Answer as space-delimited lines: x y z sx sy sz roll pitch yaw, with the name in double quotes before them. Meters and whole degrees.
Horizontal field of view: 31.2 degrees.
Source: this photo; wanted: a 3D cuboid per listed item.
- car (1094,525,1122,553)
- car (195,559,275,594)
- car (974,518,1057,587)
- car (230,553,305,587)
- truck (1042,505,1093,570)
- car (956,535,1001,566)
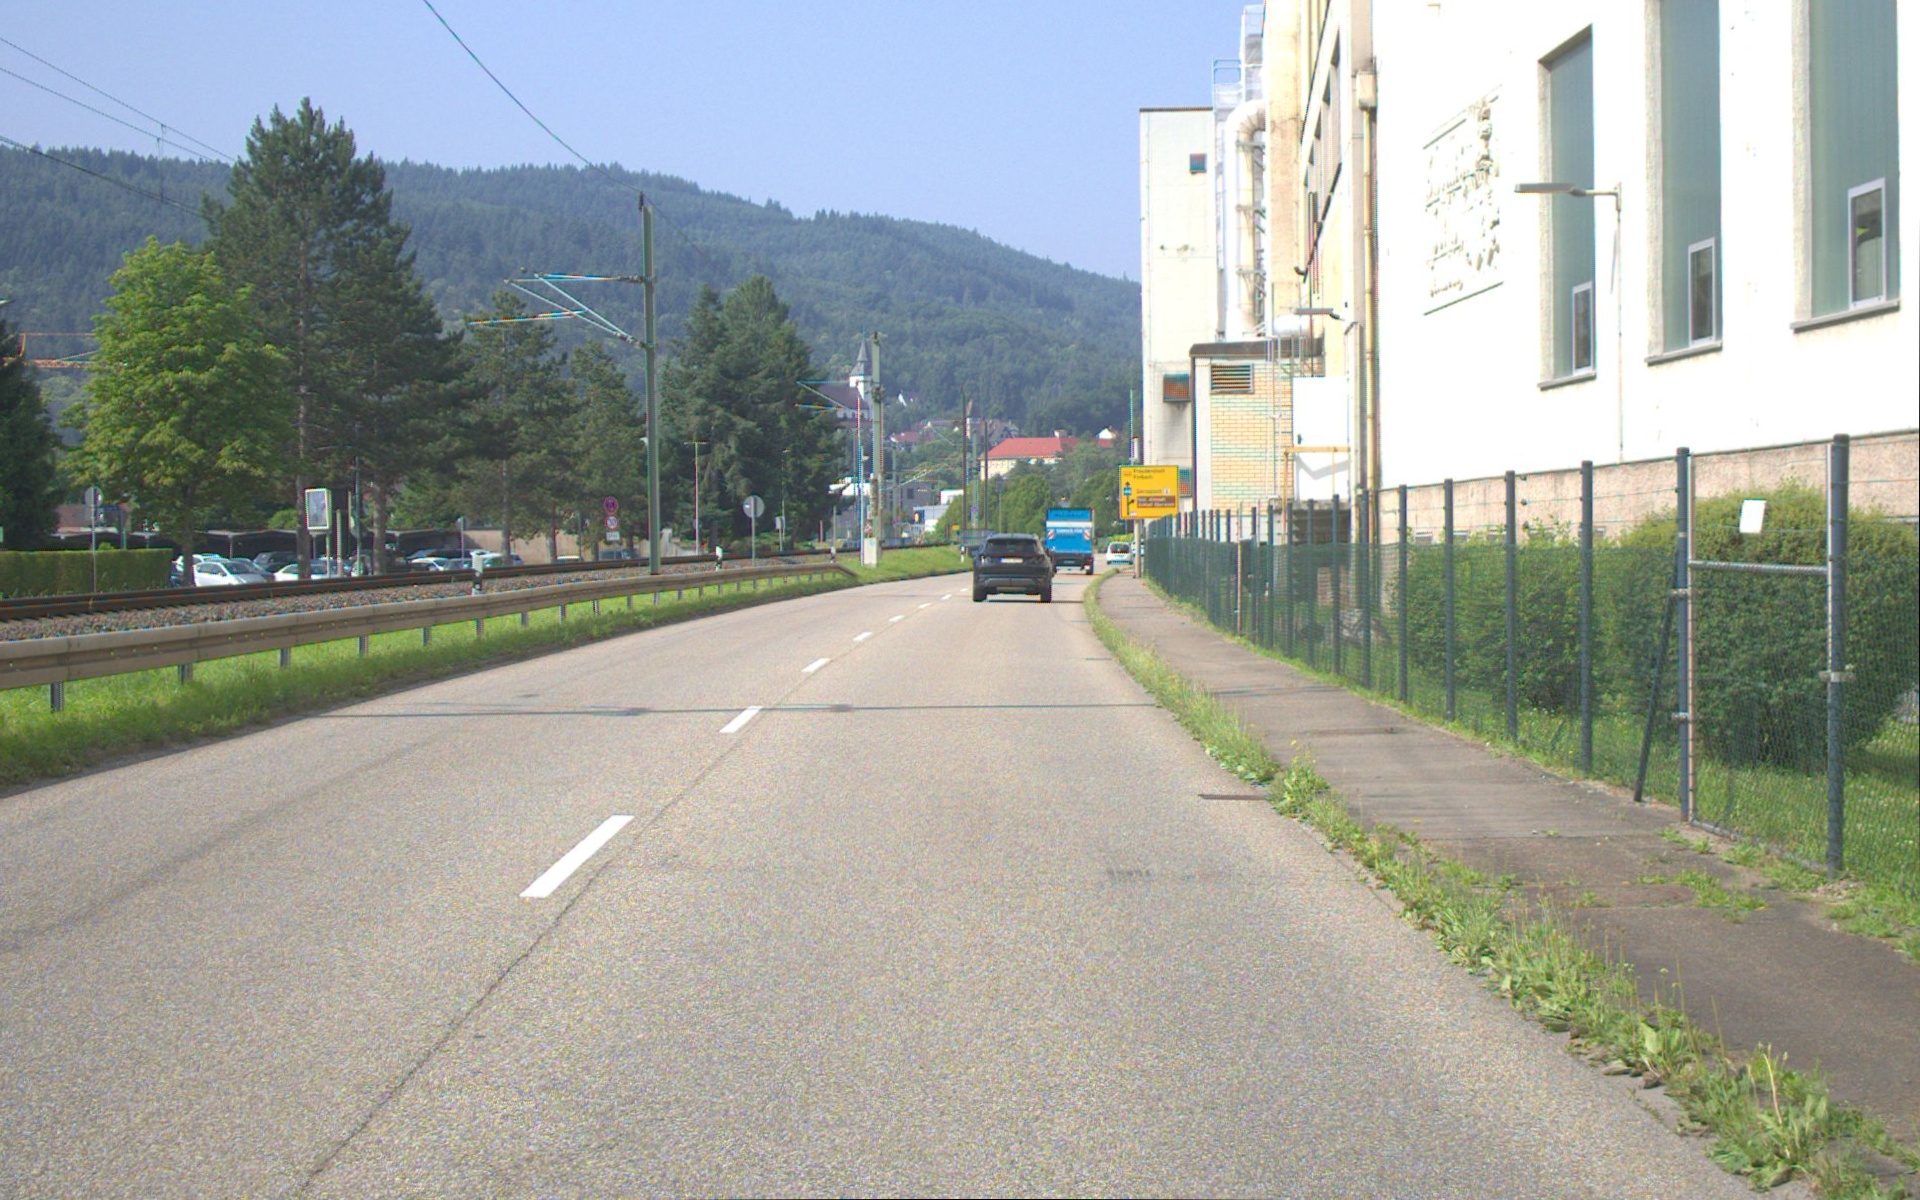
"car" 9.672 -3.996 224.223 1.667 1.816 3.751 0 1 5
"car" -30.628 -1.000 145.181 1.683 1.438 3.851 -2 1 -40
"car" 1.375 -1.153 83.588 1.919 1.634 4.000 0 1 2
"car" -31.572 -1.374 156.724 1.683 1.501 3.851 -2 1 -40
"truck" 4.968 -2.903 159.046 2.312 2.960 5.966 0 1 2
"car" 0.860 -2.278 157.714 1.764 1.398 4.119 0 1 4
